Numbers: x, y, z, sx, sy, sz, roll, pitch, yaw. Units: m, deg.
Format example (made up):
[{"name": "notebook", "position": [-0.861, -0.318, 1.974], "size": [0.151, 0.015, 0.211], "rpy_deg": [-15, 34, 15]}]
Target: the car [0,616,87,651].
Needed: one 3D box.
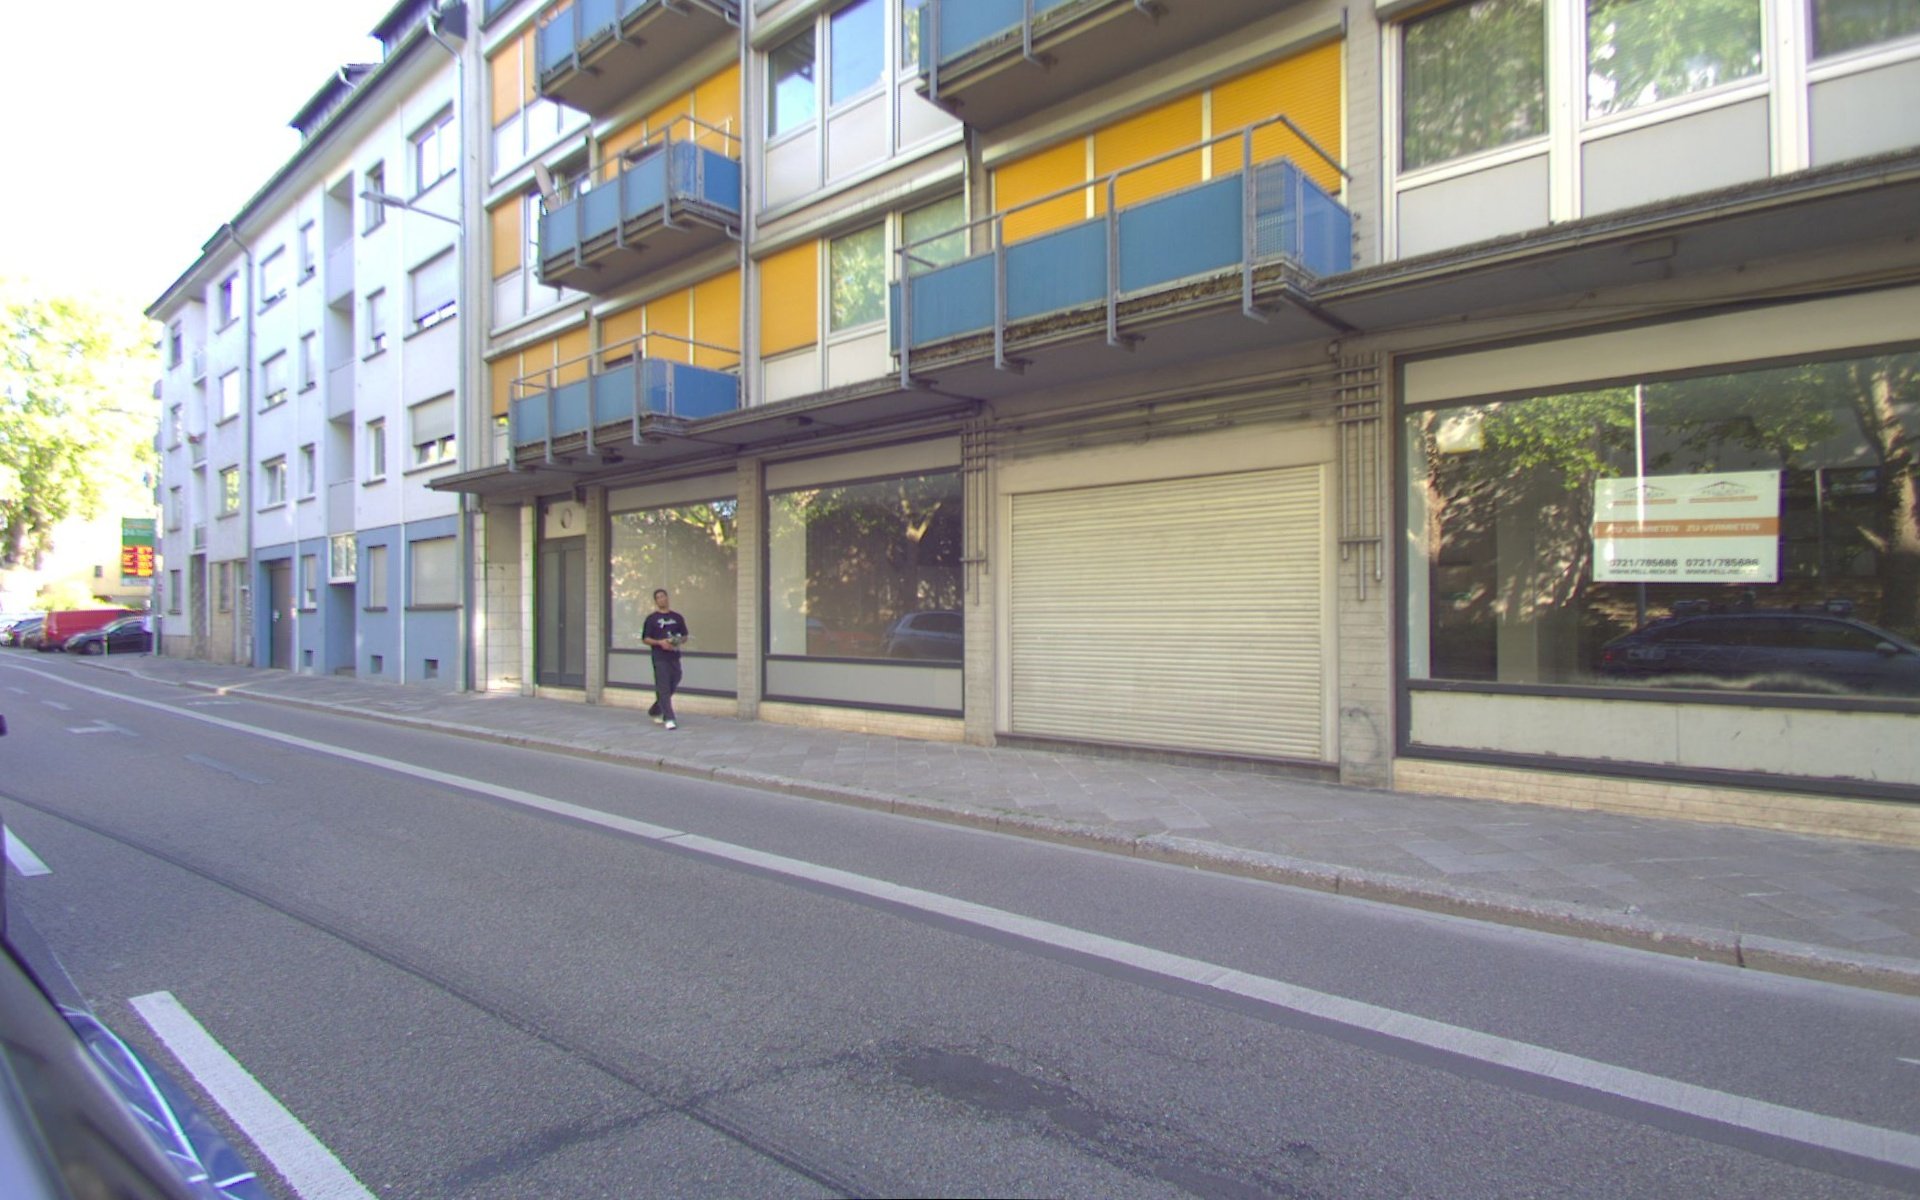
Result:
[{"name": "car", "position": [-59.336, 2.107, 64.712], "size": [2.186, 2.164, 5.077], "rpy_deg": [-1, -1, 41]}]

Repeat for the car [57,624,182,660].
[{"name": "car", "position": [-36.546, 1.796, 44.075], "size": [1.742, 1.431, 3.946], "rpy_deg": [-1, -1, 41]}]

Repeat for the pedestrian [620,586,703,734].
[{"name": "pedestrian", "position": [-3.755, 0.724, 12.724], "size": [0.793, 1.785, 0.655], "rpy_deg": [-1, -1, 41]}]

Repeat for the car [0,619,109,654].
[{"name": "car", "position": [-54.115, 2.139, 60.354], "size": [2.082, 1.952, 4.928], "rpy_deg": [-1, -1, 41]}]

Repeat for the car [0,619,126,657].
[{"name": "car", "position": [-50.290, 2.095, 56.829], "size": [2.186, 1.952, 5.077], "rpy_deg": [-1, -1, 41]}]

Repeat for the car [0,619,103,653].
[{"name": "car", "position": [-55.962, 2.167, 61.985], "size": [2.314, 1.952, 4.978], "rpy_deg": [-1, -1, 41]}]

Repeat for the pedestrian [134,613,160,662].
[{"name": "pedestrian", "position": [-30.065, 1.385, 37.425], "size": [0.756, 1.760, 0.600], "rpy_deg": [-1, 0, 41]}]

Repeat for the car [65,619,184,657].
[{"name": "car", "position": [-37.870, 1.686, 45.940], "size": [1.742, 1.572, 3.946], "rpy_deg": [-1, -1, 41]}]

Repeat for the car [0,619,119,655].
[{"name": "car", "position": [-52.229, 2.118, 58.717], "size": [2.159, 1.952, 4.990], "rpy_deg": [-1, -1, 41]}]

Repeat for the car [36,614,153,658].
[{"name": "car", "position": [-40.583, 1.642, 47.514], "size": [1.866, 1.952, 3.946], "rpy_deg": [-1, -1, 41]}]

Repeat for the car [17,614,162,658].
[{"name": "car", "position": [-42.684, 1.709, 49.712], "size": [2.256, 1.995, 5.156], "rpy_deg": [-1, -1, 41]}]
